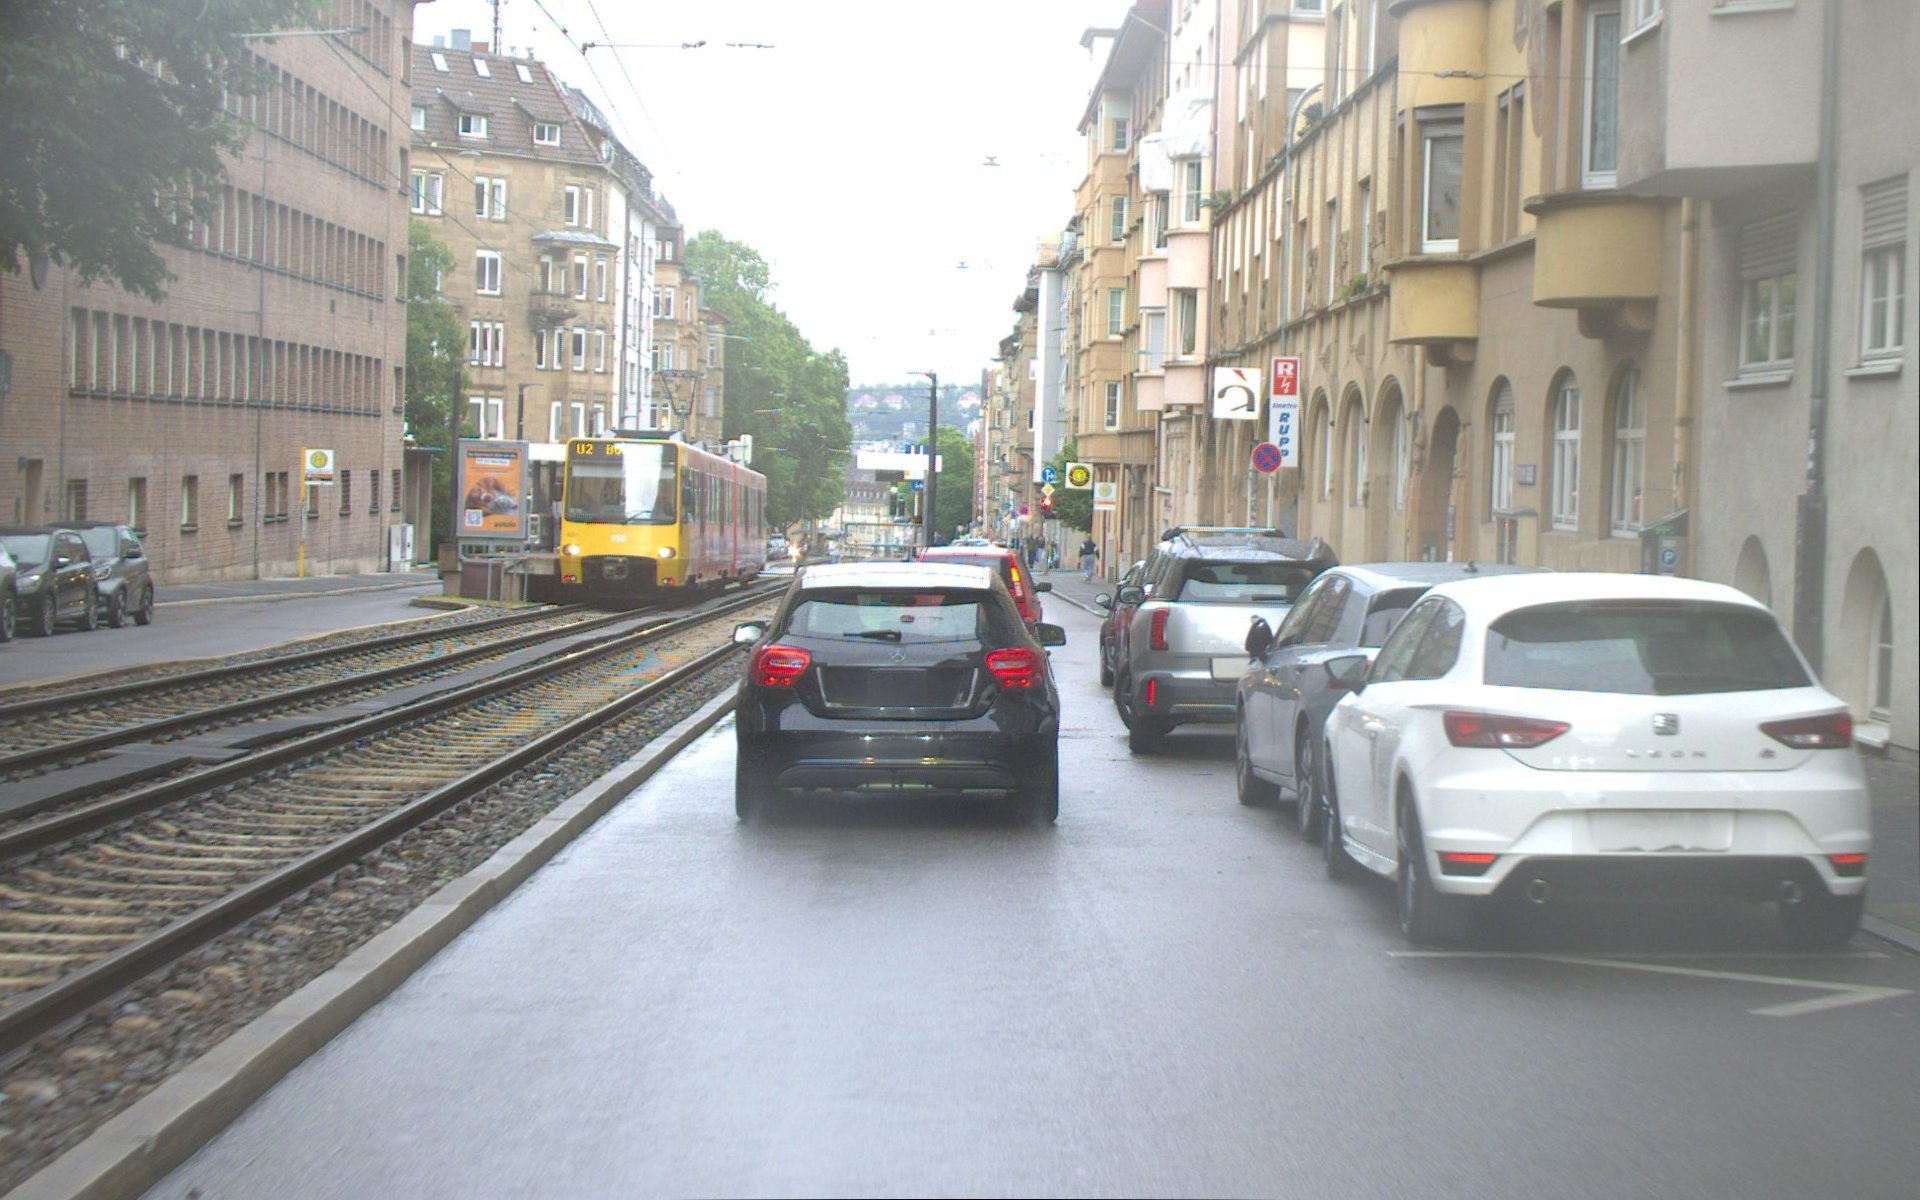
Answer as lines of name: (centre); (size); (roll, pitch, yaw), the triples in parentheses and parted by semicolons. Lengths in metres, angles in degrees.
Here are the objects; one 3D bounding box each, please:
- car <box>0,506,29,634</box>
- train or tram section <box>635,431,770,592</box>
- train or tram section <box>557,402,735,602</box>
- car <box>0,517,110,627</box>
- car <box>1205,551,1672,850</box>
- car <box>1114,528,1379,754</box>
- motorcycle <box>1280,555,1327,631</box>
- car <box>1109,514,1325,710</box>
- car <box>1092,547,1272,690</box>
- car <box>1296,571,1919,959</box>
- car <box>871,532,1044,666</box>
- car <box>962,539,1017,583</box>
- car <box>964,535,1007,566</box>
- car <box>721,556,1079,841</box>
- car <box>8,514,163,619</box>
car: (-12.998, -0.383, 42.256); (1.961, 1.600, 4.329); (2, 1, -1)
train or tram section: (-6.974, -2.408, 95.147); (2.745, 4.048, 15.662); (1, 1, -1)
train or tram section: (-6.970, -2.173, 78.783); (2.745, 4.048, 17.215); (1, 1, -1)
car: (-12.987, -0.412, 47.315); (1.666, 1.410, 3.688); (2, 1, -1)
car: (2.543, 0.490, 19.334); (1.832, 1.463, 4.376); (1, 0, -2)
car: (2.176, 0.283, 27.257); (1.841, 1.602, 4.760); (1, 0, 2)
motorcycle: (5.601, -0.126, 56.159); (0.556, 1.156, 2.269); (-3, 1, 2)
car: (2.417, 0.097, 33.314); (1.778, 1.744, 4.548); (1, 0, 1)
car: (2.405, 0.190, 37.933); (1.591, 1.435, 3.310); (3, 0, -2)
car: (2.564, 0.588, 14.664); (1.789, 1.381, 4.395); (1, 0, 0)
car: (-0.027, -0.037, 42.770); (1.993, 1.520, 4.245); (2, 1, 0)
car: (1.088, -1.435, 126.342); (1.887, 1.520, 4.245); (2, 1, 2)
car: (1.307, -2.561, 176.914); (2.134, 1.520, 4.245); (2, 1, 0)
car: (-0.314, 0.491, 19.860); (1.834, 1.448, 3.902); (1, 1, 0)
car: (-12.956, -0.520, 51.078); (1.572, 1.461, 3.045); (2, 1, -2)
